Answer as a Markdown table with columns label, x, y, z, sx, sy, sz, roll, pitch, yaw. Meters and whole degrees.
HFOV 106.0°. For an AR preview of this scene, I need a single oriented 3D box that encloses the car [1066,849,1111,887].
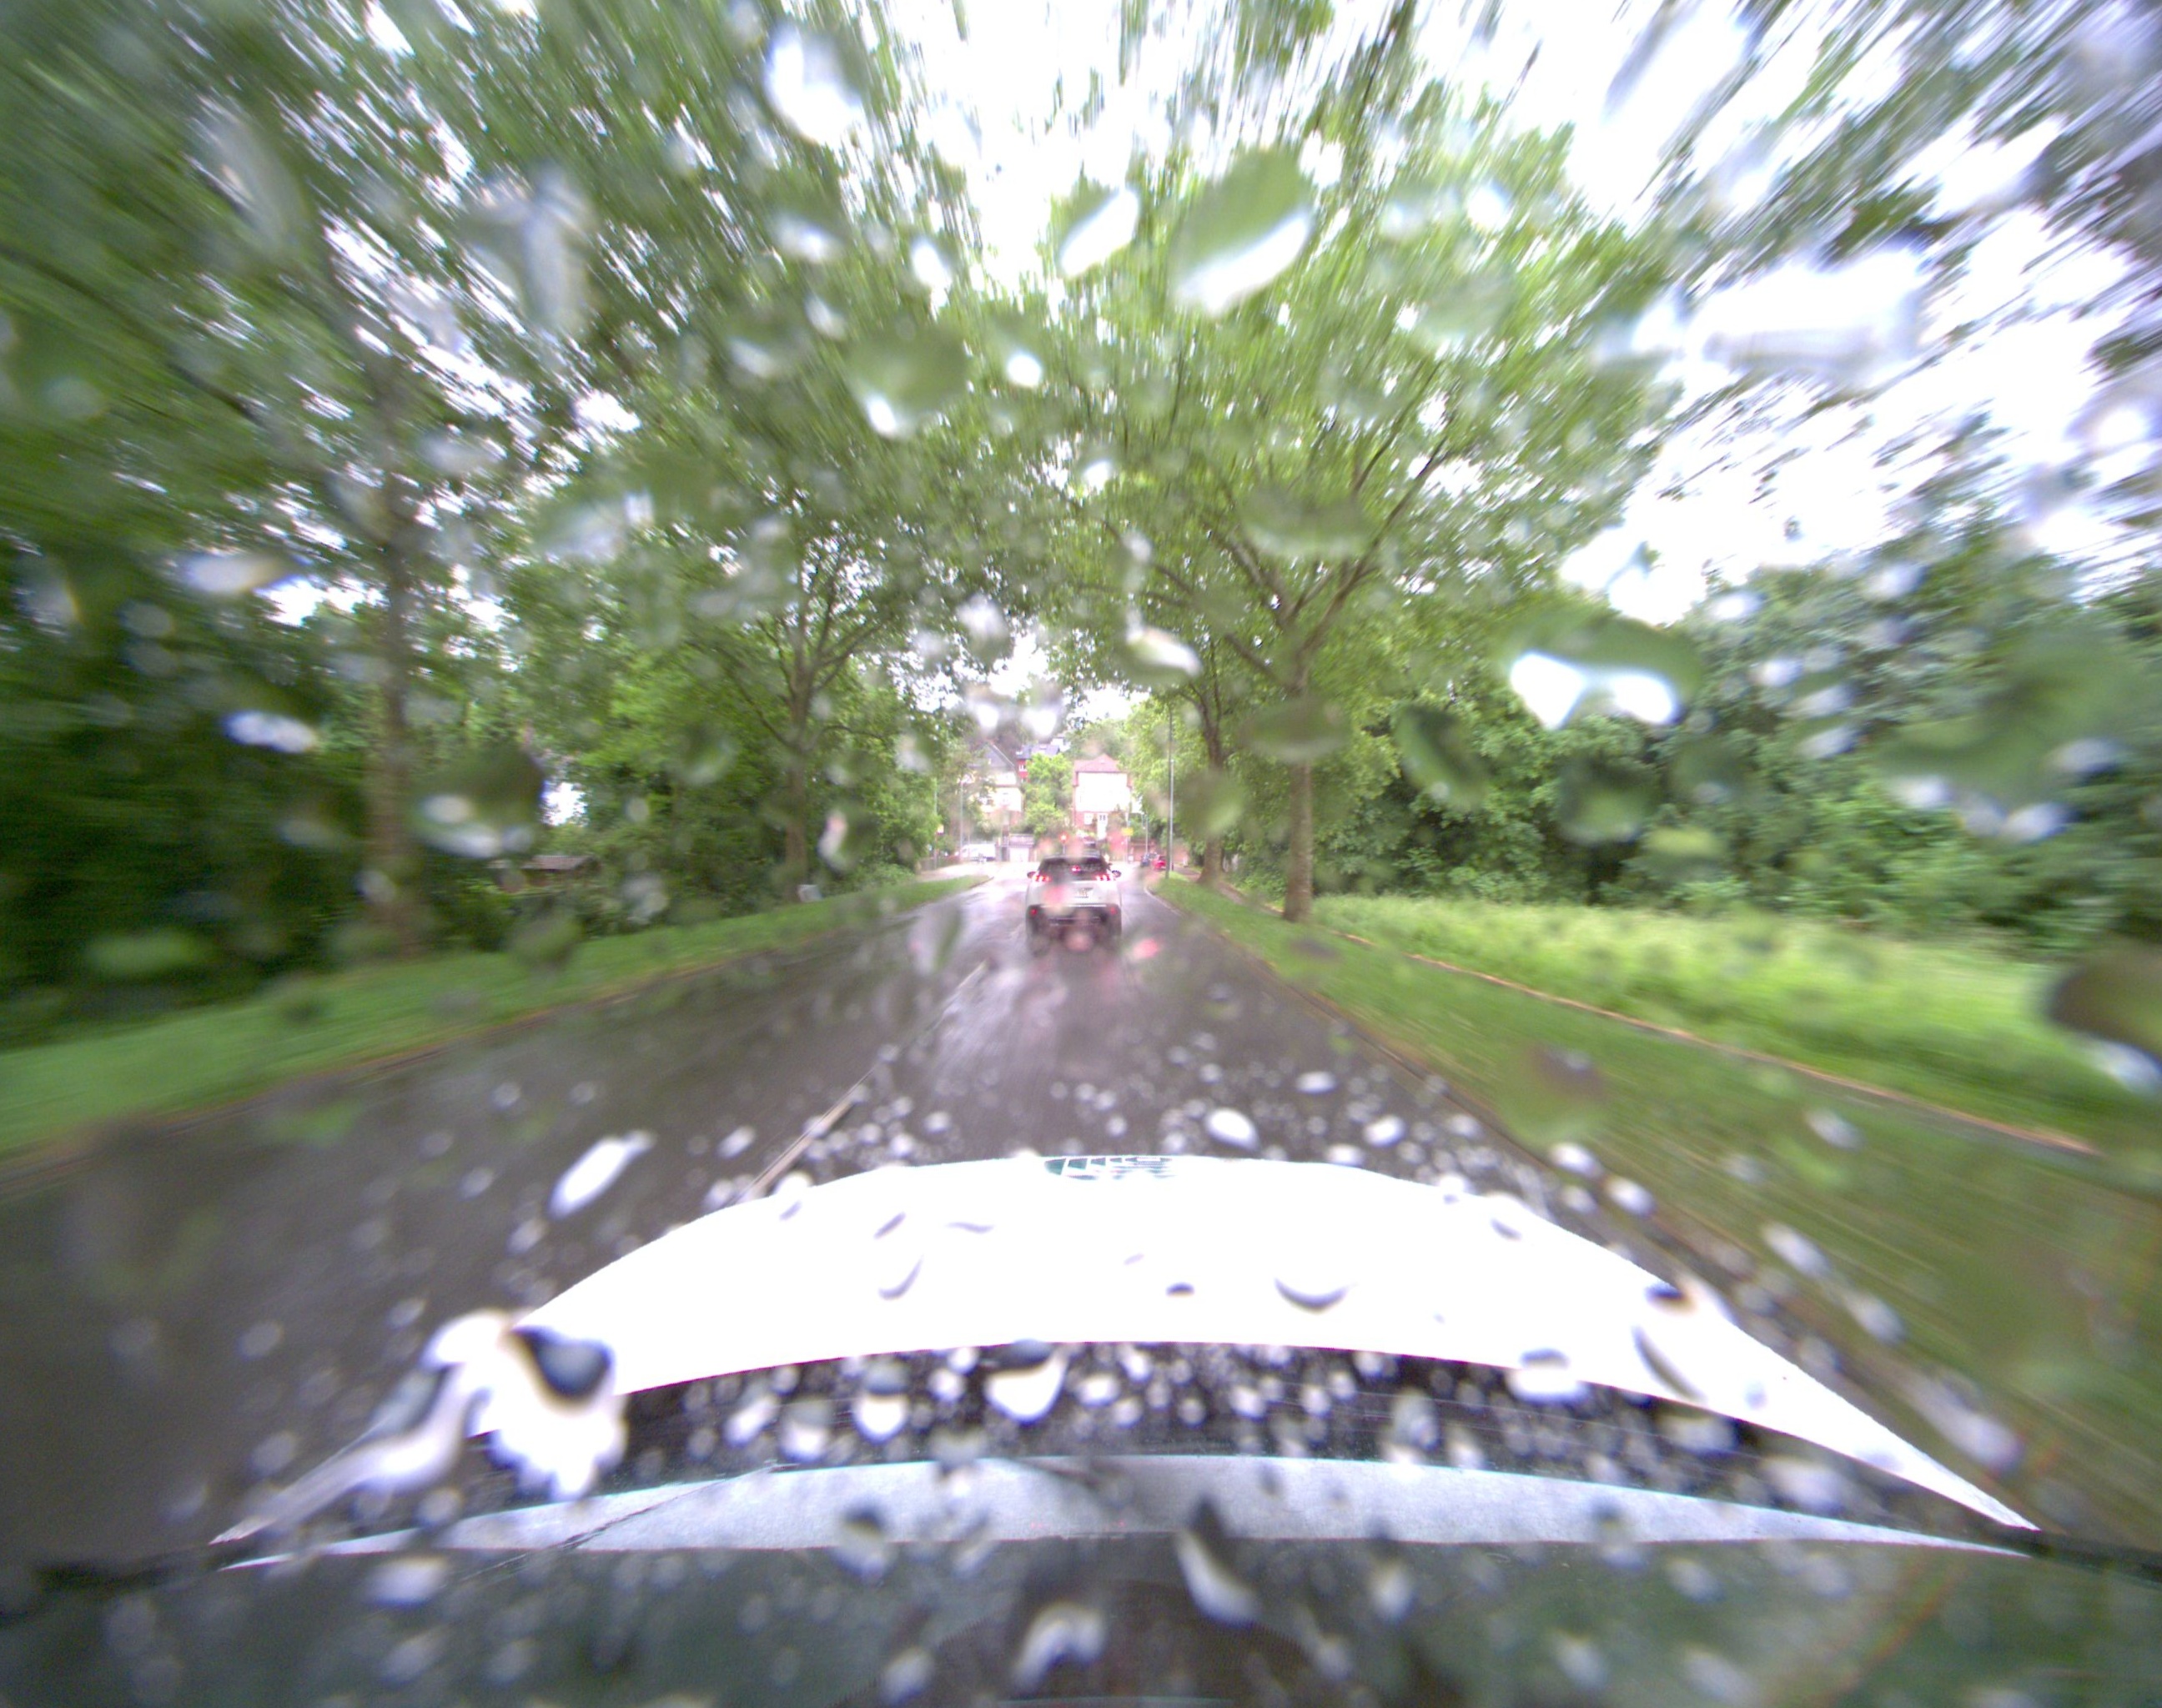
| label | x | y | z | sx | sy | sz | roll | pitch | yaw |
| --- | --- | --- | --- | --- | --- | --- | --- | --- | --- |
| car | 0.350 | 0.560 | 36.222 | 1.825 | 1.456 | 4.659 | 3 | 1 | 1 |

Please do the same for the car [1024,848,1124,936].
| label | x | y | z | sx | sy | sz | roll | pitch | yaw |
| --- | --- | --- | --- | --- | --- | --- | --- | --- | --- |
| car | -0.110 | 0.665 | 16.435 | 1.747 | 1.536 | 4.367 | 0 | 0 | 0 |

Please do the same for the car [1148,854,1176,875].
| label | x | y | z | sx | sy | sz | roll | pitch | yaw |
| --- | --- | --- | --- | --- | --- | --- | --- | --- | --- |
| car | 7.048 | 0.895 | 71.321 | 1.815 | 1.517 | 3.741 | 8 | 1 | -2 |

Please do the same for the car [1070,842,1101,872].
| label | x | y | z | sx | sy | sz | roll | pitch | yaw |
| --- | --- | --- | --- | --- | --- | --- | --- | --- | --- |
| car | 0.243 | 0.132 | 50.467 | 1.755 | 1.711 | 4.599 | 2 | 1 | -1 |

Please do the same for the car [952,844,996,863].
| label | x | y | z | sx | sy | sz | roll | pitch | yaw |
| --- | --- | --- | --- | --- | --- | --- | --- | --- | --- |
| car | -14.897 | -0.036 | 113.603 | 5.639 | 2.494 | 2.316 | 1 | -1 | 1 |

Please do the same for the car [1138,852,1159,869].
| label | x | y | z | sx | sy | sz | roll | pitch | yaw |
| --- | --- | --- | --- | --- | --- | --- | --- | --- | --- |
| car | 6.725 | 0.637 | 81.012 | 1.744 | 1.491 | 3.599 | 3 | 0 | 0 |
